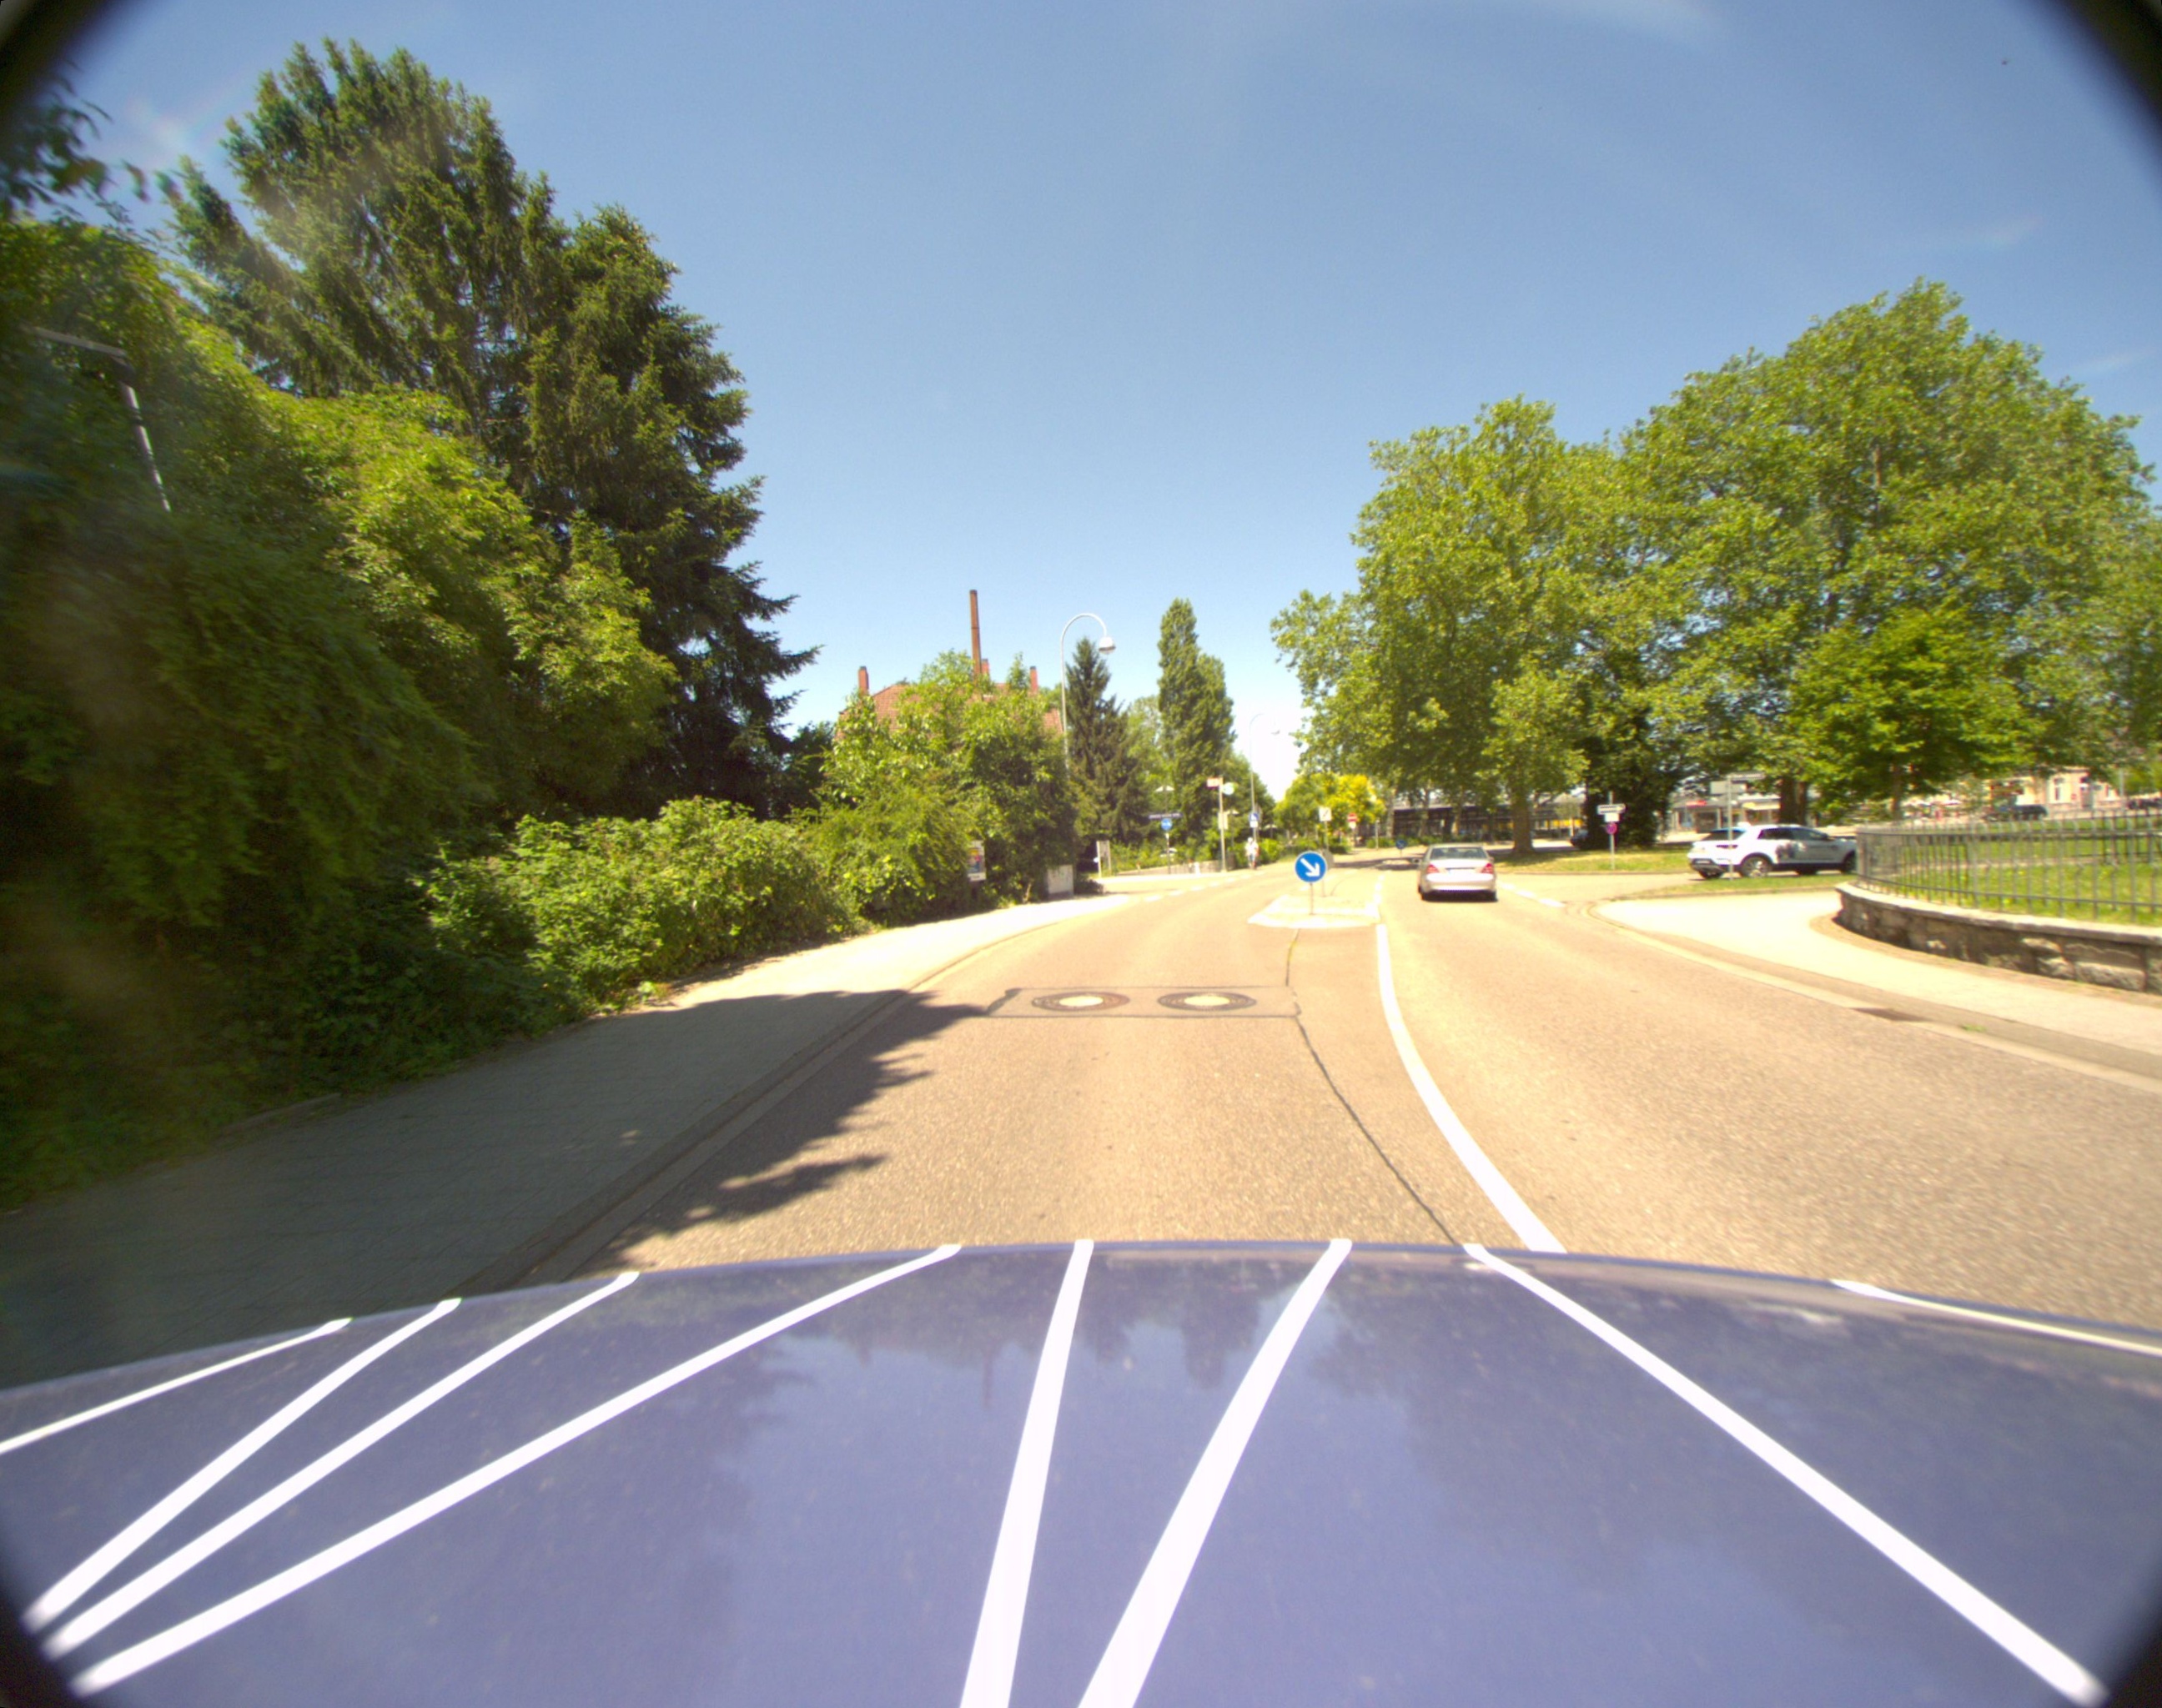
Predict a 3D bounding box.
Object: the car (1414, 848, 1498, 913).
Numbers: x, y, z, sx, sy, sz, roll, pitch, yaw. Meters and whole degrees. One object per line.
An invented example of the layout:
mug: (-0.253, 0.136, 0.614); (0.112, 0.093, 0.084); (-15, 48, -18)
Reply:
car: (9.660, 0.609, 19.759); (1.760, 1.427, 4.310); (-1, 1, 24)

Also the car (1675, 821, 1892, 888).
car: (19.910, 0.031, 21.695); (4.300, 1.613, 1.879); (-3, 0, 3)

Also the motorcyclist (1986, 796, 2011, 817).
motorcyclist: (74.220, -3.849, 61.441); (1.104, 1.546, 0.809); (-3, 1, -10)

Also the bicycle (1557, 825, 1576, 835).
bicycle: (66.991, -3.319, 104.808); (2.168, 1.067, 0.670); (-6, 3, -3)

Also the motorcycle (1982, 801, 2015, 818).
motorcycle: (74.190, -3.612, 61.444); (2.051, 1.224, 0.809); (-3, 1, -10)

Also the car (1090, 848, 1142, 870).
car: (2.761, 0.405, 60.404); (3.967, 1.527, 1.655); (-3, 0, -2)

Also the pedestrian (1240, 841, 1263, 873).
pedestrian: (9.437, 0.156, 42.056); (0.912, 1.762, 0.917); (0, 3, 43)

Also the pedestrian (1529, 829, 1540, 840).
pedestrian: (56.016, -2.434, 93.857); (0.868, 1.267, 0.830); (-3, 1, -10)

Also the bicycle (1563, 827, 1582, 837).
bicycle: (67.071, -2.995, 103.629); (2.168, 1.067, 0.670); (-6, 3, -3)

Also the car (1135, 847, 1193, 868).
car: (6.868, 0.316, 63.116); (4.498, 1.491, 1.769); (-3, 0, -6)
